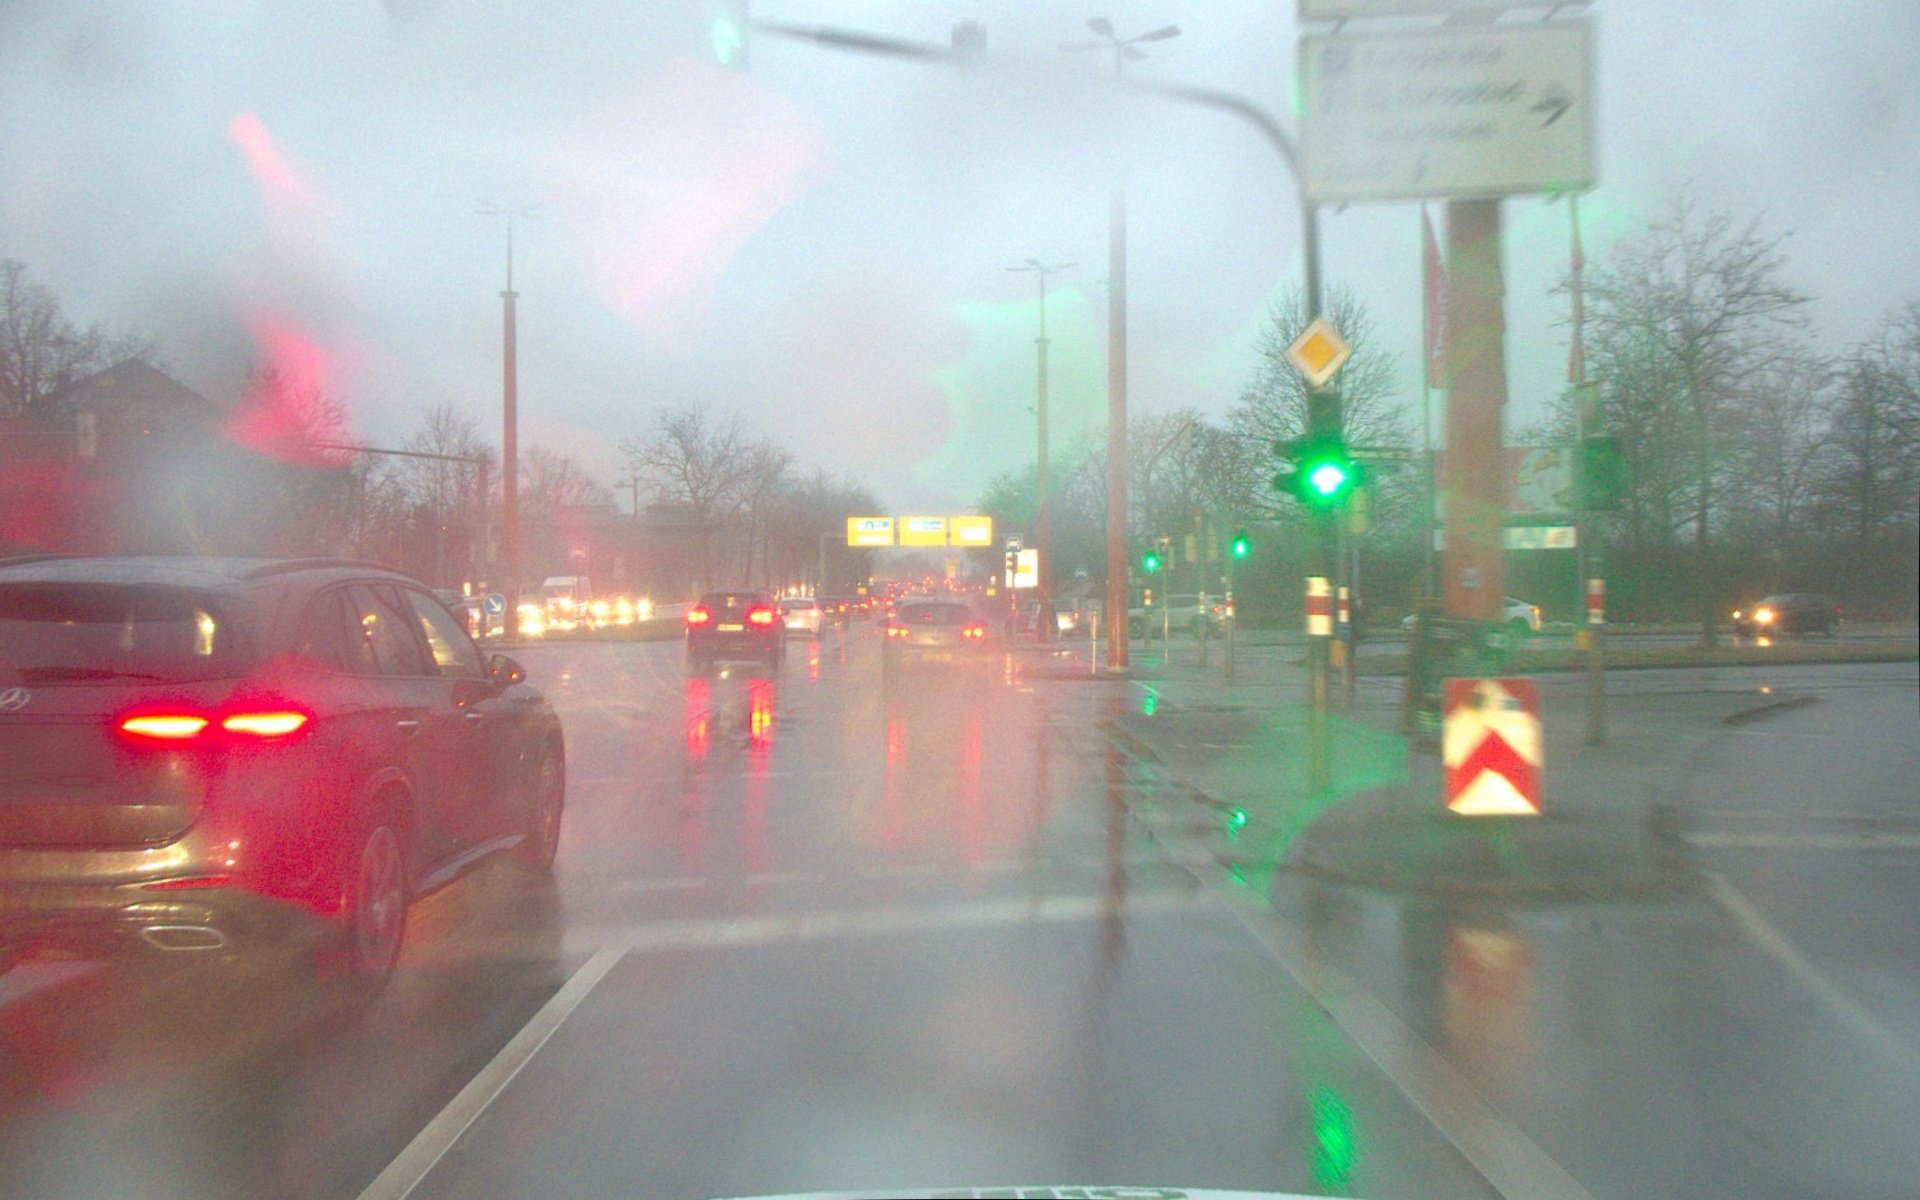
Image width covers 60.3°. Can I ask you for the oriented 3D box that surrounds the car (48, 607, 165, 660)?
[{"bbox_3d":[-26.178,1.011,50.852,1.586,1.521,4.016,0,0,-1],"label":"car"}]

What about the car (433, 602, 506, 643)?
[{"bbox_3d":[-19.762,0.885,66.819,1.734,1.560,4.523,0,0,-2],"label":"car"}]

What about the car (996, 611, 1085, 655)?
[{"bbox_3d":[3.197,1.310,66.654,1.906,1.677,4.437,2,-1,-22],"label":"car"}]

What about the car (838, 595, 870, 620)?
[{"bbox_3d":[-6.667,0.470,103.934,1.785,1.530,3.999,0,0,-1],"label":"car"}]

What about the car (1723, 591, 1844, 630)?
[{"bbox_3d":[29.169,0.364,58.591,3.930,1.332,1.627,0,0,-22],"label":"car"}]

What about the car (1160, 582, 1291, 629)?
[{"bbox_3d":[9.565,0.213,59.691,4.315,1.646,1.817,0,0,31],"label":"car"}]

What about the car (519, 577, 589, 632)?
[{"bbox_3d":[-23.930,0.304,97.874,2.245,3.057,7.346,1,-1,0],"label":"car"}]

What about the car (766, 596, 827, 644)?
[{"bbox_3d":[-5.777,0.694,58.834,1.785,1.677,3.999,0,0,-1],"label":"car"}]

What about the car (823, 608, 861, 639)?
[{"bbox_3d":[-5.305,1.035,74.623,1.474,1.362,3.999,0,0,-1],"label":"car"}]

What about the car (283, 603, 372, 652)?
[{"bbox_3d":[-19.893,0.843,52.139,1.618,1.445,3.325,0,0,-2],"label":"car"}]

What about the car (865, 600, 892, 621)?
[{"bbox_3d":[-6.546,0.870,132.725,1.953,1.604,3.999,1,-1,-1],"label":"car"}]

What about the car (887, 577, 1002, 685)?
[{"bbox_3d":[-0.264,0.525,28.545,1.785,1.677,4.465,1,-1,-1],"label":"car"}]

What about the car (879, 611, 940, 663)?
[{"bbox_3d":[-1.691,1.241,56.509,1.953,1.691,3.999,1,-1,-1],"label":"car"}]

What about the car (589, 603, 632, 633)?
[{"bbox_3d":[-20.161,1.025,95.583,1.734,1.614,4.032,0,0,-2],"label":"car"}]

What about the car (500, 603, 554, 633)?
[{"bbox_3d":[-23.151,0.950,88.530,1.733,1.563,4.446,0,0,0],"label":"car"}]

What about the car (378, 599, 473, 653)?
[{"bbox_3d":[-16.847,0.794,52.319,1.820,1.609,4.077,0,0,-3],"label":"car"}]

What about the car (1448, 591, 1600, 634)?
[{"bbox_3d":[19.146,0.421,56.351,4.638,1.400,1.884,0,0,9],"label":"car"}]

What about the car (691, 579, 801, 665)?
[{"bbox_3d":[-4.369,0.429,34.230,1.785,1.677,3.999,0,0,-1],"label":"car"}]

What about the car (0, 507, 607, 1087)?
[{"bbox_3d":[-2.856,0.576,7.022,1.785,1.677,4.466,0,0,-1],"label":"car"}]
